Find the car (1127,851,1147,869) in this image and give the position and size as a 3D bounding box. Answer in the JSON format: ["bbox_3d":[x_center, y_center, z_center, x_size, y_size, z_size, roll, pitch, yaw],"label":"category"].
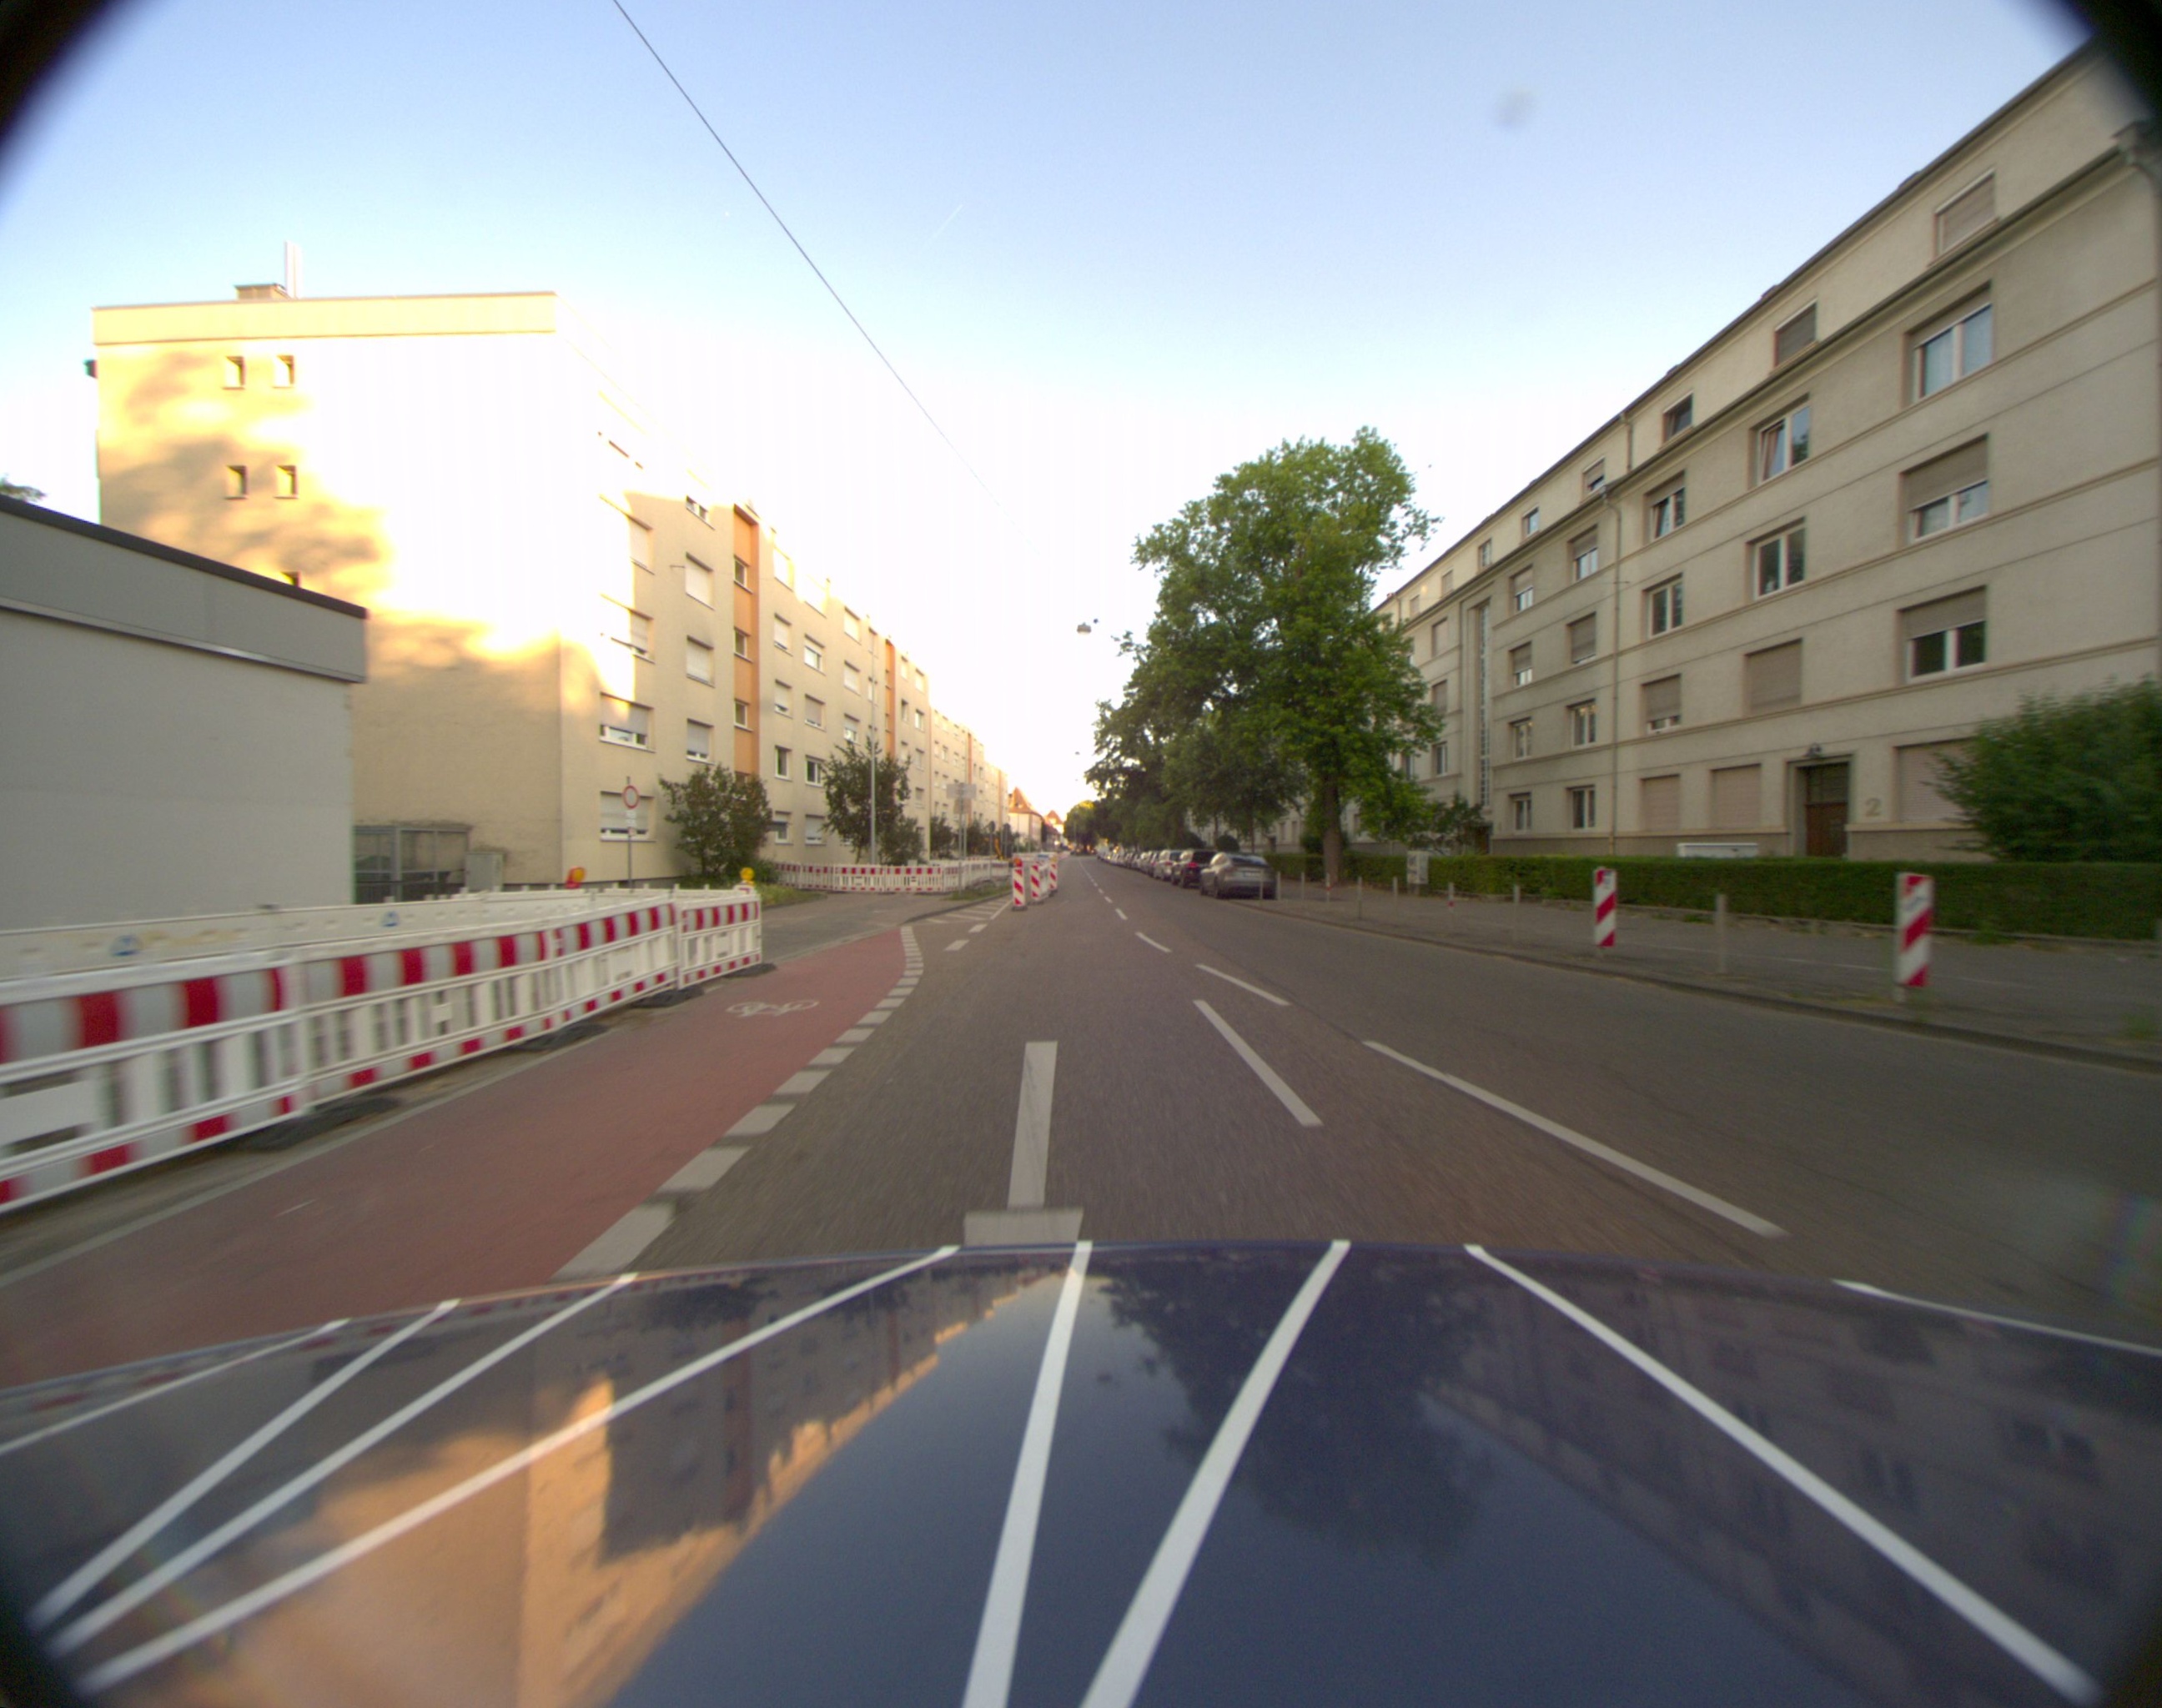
[{"bbox_3d":[5.173,0.541,70.546,1.527,1.520,3.163,3,1,-2],"label":"car"}]

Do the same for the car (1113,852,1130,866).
[{"bbox_3d":[4.765,0.579,89.934,1.696,1.451,4.482,3,0,-1],"label":"car"}]

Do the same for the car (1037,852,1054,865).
[{"bbox_3d":[-4.559,0.598,97.494,1.780,1.482,4.573,4,1,0],"label":"car"}]

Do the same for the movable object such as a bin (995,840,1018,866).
[{"bbox_3d":[-7.707,-0.093,78.818,1.937,2.677,2.892,0,1,4],"label":"movable object such as a bin"}]

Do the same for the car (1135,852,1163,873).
[{"bbox_3d":[5.412,0.650,60.994,1.594,1.530,4.205,3,0,-3],"label":"car"}]

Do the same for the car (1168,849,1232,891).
[{"bbox_3d":[5.268,0.665,34.236,1.959,1.709,4.770,2,0,-1],"label":"car"}]

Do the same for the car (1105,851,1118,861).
[{"bbox_3d":[4.609,0.296,114.943,1.756,1.471,3.944,3,0,1],"label":"car"}]

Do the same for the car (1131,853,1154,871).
[{"bbox_3d":[5.311,0.672,66.291,1.594,1.396,4.180,3,0,-1],"label":"car"}]

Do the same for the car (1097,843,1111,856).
[{"bbox_3d":[4.360,-0.851,144.126,2.185,2.447,6.102,3,0,-1],"label":"car"}]

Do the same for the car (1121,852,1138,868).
[{"bbox_3d":[5.008,0.583,79.403,1.594,1.520,2.921,3,1,1],"label":"car"}]

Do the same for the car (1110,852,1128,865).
[{"bbox_3d":[4.717,0.560,94.727,1.697,1.451,4.143,3,0,-2],"label":"car"}]

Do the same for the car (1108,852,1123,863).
[{"bbox_3d":[4.724,0.489,104.560,1.679,1.451,3.704,3,0,-3],"label":"car"}]

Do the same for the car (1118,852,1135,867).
[{"bbox_3d":[4.971,0.582,83.581,1.594,1.496,3.798,3,0,-1],"label":"car"}]

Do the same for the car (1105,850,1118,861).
[{"bbox_3d":[4.752,0.251,119.517,1.757,1.622,4.106,3,0,-2],"label":"car"}]

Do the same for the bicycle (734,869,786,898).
[{"bbox_3d":[-11.368,1.025,26.941,0.544,0.962,1.817,0,1,23],"label":"bicycle"}]

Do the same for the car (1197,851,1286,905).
[{"bbox_3d":[5.393,0.751,26.196,1.959,1.607,4.604,2,0,-1],"label":"car"}]

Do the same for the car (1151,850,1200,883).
[{"bbox_3d":[5.090,0.636,41.688,1.851,1.681,4.857,2,0,-2],"label":"car"}]

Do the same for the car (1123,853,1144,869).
[{"bbox_3d":[5.107,0.636,74.558,1.594,1.458,4.100,3,0,-2],"label":"car"}]

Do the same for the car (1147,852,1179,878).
[{"bbox_3d":[5.062,0.626,47.135,1.736,1.488,4.271,2,0,4],"label":"car"}]

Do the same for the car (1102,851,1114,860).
[{"bbox_3d":[4.397,0.260,125.143,1.757,1.463,4.223,3,0,1],"label":"car"}]

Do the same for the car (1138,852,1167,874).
[{"bbox_3d":[5.296,0.651,56.598,1.711,1.443,3.842,3,0,0],"label":"car"}]

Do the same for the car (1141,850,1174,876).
[{"bbox_3d":[5.196,0.571,52.014,1.711,1.591,4.116,3,0,-1],"label":"car"}]
